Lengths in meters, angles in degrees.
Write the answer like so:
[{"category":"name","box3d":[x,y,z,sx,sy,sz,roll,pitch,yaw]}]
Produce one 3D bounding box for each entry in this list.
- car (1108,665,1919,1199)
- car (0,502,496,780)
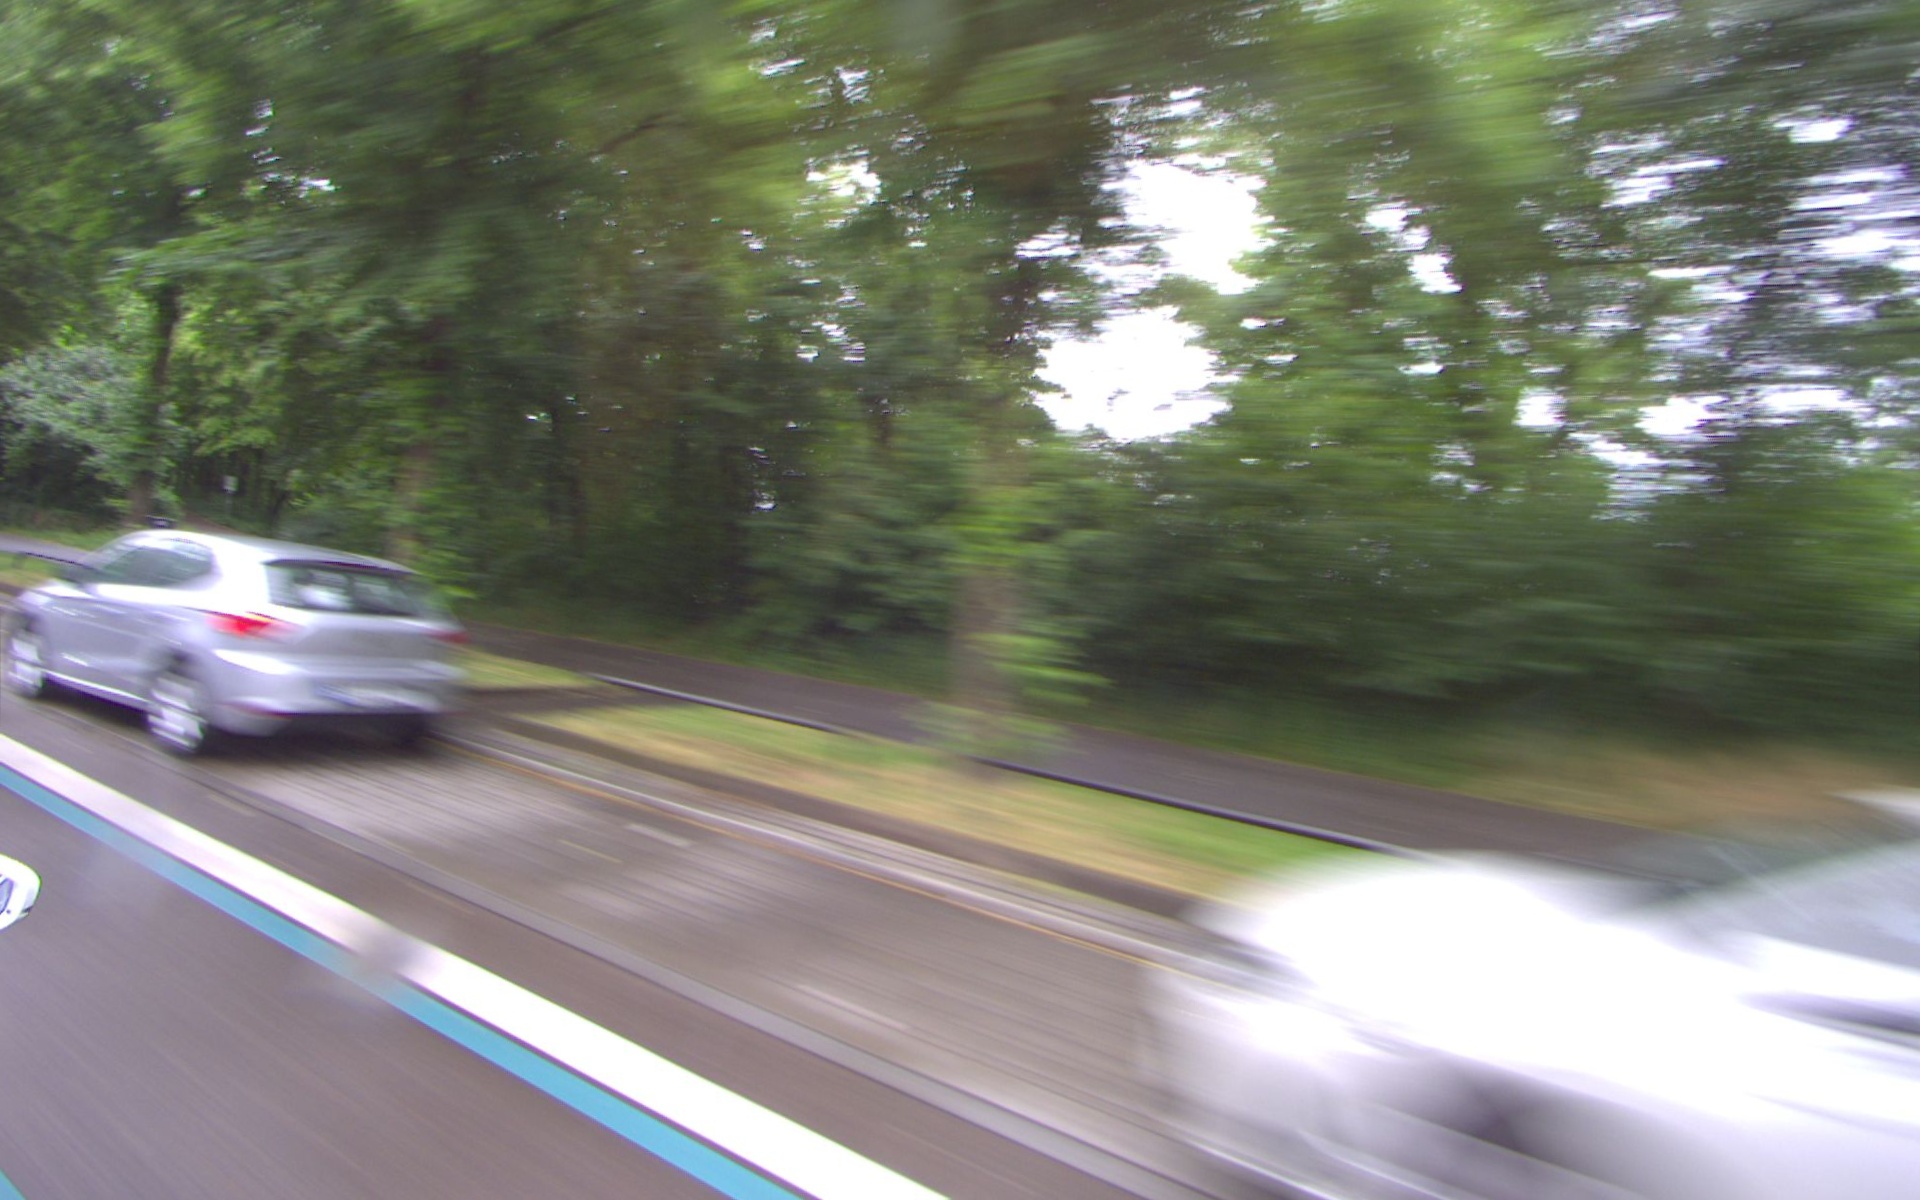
[{"category":"car","box3d":[2.556,1.178,2.423,3.880,1.470,1.701,7,-1,31]},{"category":"car","box3d":[-5.670,0.224,7.763,4.029,1.470,1.701,7,-1,31]}]
